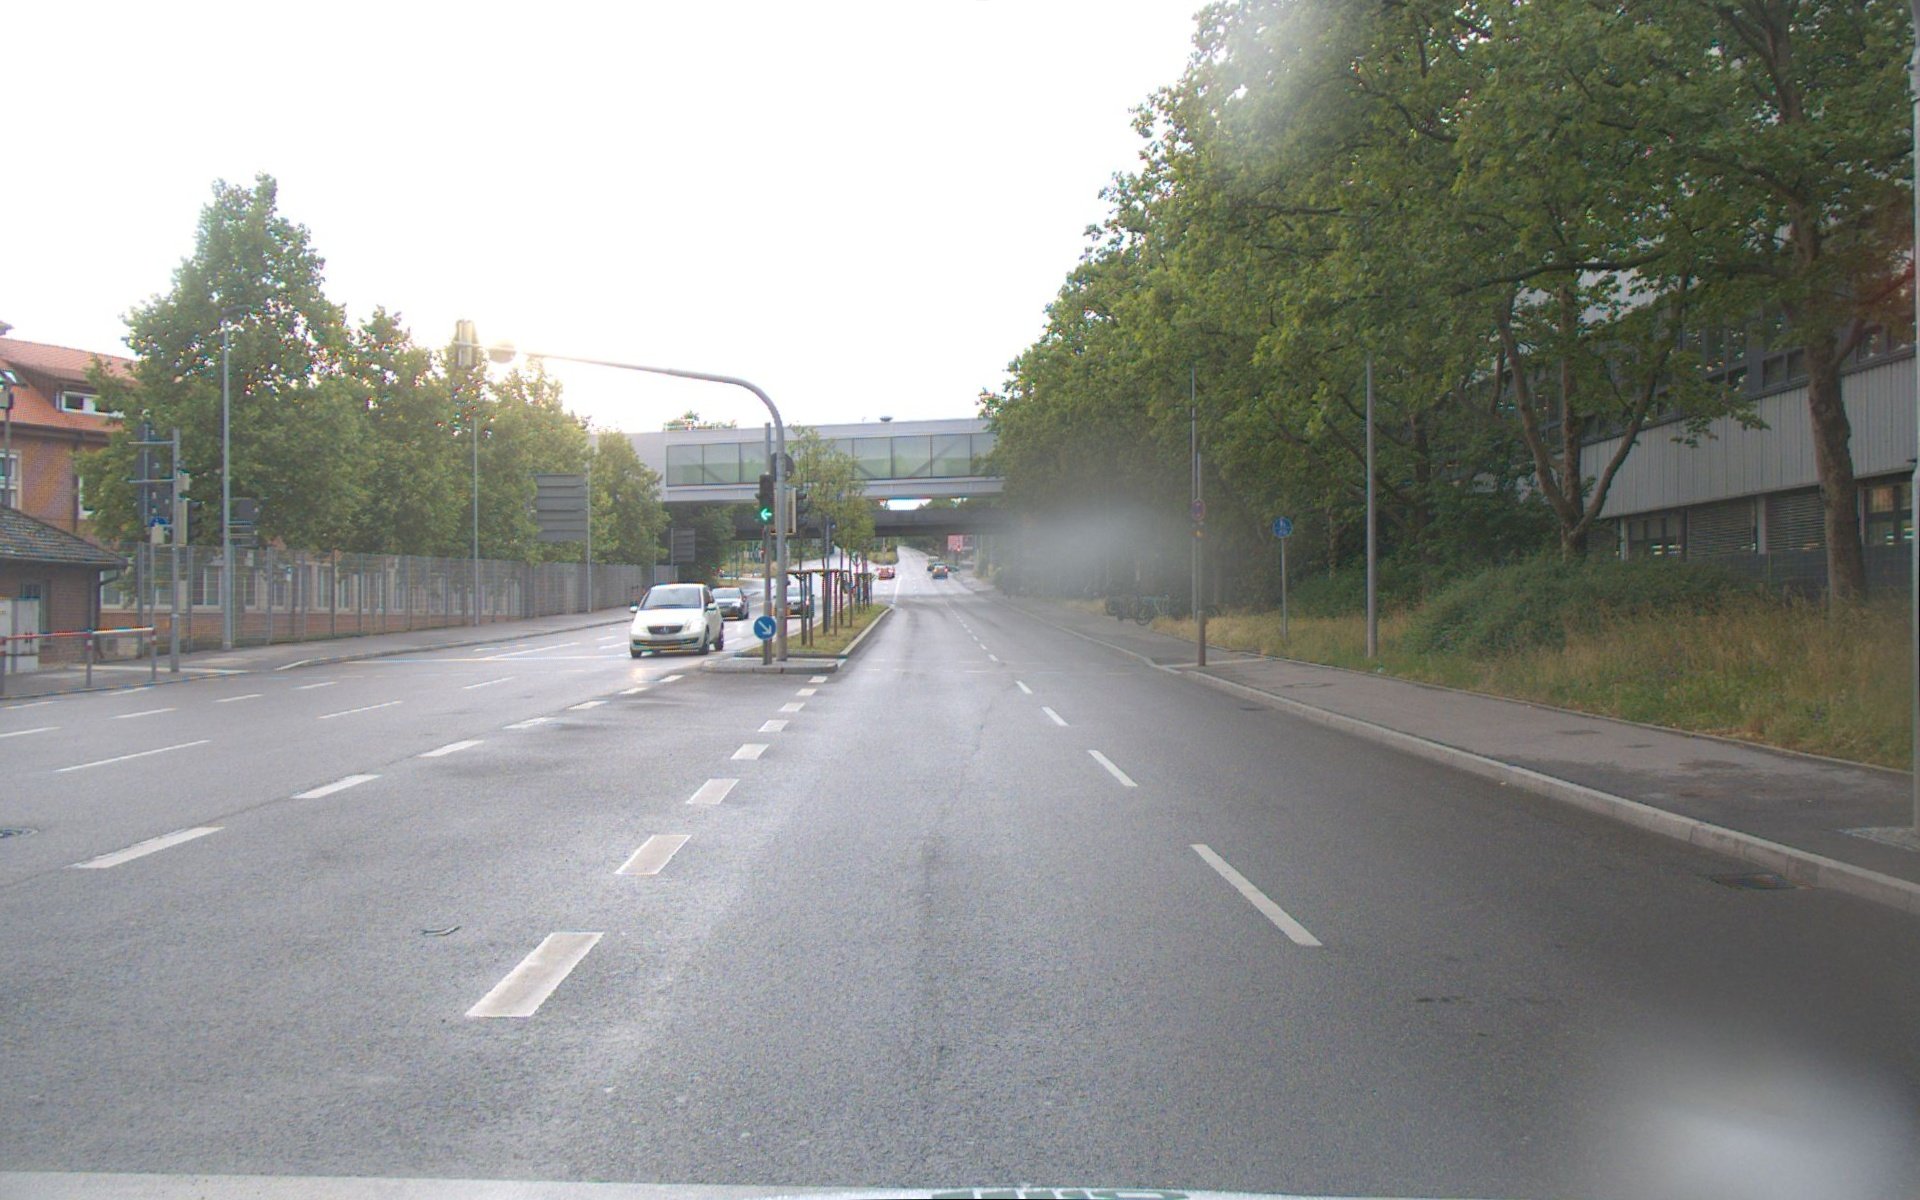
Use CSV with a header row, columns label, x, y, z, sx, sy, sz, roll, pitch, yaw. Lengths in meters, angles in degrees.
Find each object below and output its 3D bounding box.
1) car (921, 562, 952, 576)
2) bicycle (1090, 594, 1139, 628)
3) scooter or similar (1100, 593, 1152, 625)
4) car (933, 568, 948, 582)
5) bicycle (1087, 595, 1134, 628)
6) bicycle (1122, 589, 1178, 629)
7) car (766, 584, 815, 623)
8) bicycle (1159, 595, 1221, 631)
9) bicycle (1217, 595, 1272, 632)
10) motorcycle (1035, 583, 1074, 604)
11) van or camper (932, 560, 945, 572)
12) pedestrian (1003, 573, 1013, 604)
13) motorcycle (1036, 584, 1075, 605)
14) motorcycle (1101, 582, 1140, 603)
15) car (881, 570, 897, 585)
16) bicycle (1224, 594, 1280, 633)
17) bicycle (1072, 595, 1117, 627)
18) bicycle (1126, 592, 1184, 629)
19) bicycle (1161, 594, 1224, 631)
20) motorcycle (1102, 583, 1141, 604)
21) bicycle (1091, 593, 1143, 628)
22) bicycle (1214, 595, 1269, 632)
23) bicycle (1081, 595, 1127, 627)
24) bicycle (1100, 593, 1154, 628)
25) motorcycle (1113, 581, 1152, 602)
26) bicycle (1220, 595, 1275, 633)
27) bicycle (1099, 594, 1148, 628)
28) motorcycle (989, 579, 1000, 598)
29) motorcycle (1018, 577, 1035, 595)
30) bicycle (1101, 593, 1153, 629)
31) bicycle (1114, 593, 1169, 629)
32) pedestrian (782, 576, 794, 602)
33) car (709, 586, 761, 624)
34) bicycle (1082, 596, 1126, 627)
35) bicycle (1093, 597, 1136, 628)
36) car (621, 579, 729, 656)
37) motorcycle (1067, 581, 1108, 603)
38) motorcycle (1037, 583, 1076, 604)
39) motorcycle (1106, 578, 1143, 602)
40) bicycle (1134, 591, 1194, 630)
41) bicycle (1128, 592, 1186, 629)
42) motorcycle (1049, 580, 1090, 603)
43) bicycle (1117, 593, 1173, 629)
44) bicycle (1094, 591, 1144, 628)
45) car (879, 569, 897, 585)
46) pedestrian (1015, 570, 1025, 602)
label,x,y,z,sx,sy,sz,roll,pitch,yaw
car,-3.400,-4.365,236.307,4.419,1.792,1.904,2,-1,-2
bicycle,6.452,0.466,69.216,1.949,1.352,0.576,2,-1,0
scooter or similar,6.430,0.356,64.015,1.949,1.157,0.541,2,-1,0
car,-2.389,-3.026,202.947,1.837,1.523,4.067,2,-1,-1
bicycle,6.476,0.480,71.143,1.923,1.352,0.654,2,-1,0
bicycle,6.915,0.329,60.253,1.949,1.364,0.541,2,-1,0
car,-7.636,0.148,74.762,1.839,1.653,3.778,-1,0,-1
bicycle,7.588,0.418,54.536,1.949,1.114,0.541,2,-1,0
bicycle,10.788,0.522,62.765,1.949,1.352,0.576,2,-1,0
motorcycle,5.700,-0.385,99.856,2.318,1.223,0.723,-1,0,7
van or camper,-3.410,-5.403,262.923,1.762,1.845,3.763,1,1,-5
pedestrian,3.162,-0.772,108.816,0.609,2.049,0.605,-1,0,-1
motorcycle,5.800,-0.362,100.715,2.318,1.223,0.723,-1,0,7
motorcycle,9.763,-0.476,100.350,2.318,1.223,0.723,-1,0,7
car,-9.073,-2.833,211.724,1.846,1.792,3.968,2,-1,-1
bicycle,10.826,0.504,61.337,1.949,1.352,0.576,2,-1,0
bicycle,5.998,0.498,73.651,1.923,1.352,0.654,2,-1,0
bicycle,6.936,0.379,58.863,1.949,1.263,0.541,2,-1,0
bicycle,7.595,0.411,53.967,1.949,1.114,0.541,2,-1,0
motorcycle,9.913,-0.383,101.291,2.318,1.223,0.723,-1,0,7
bicycle,6.260,0.418,65.971,1.949,1.352,0.576,2,-1,0
bicycle,10.792,0.530,63.413,1.949,1.352,0.576,2,-1,0
bicycle,6.336,0.497,72.743,1.923,1.352,0.654,2,-1,0
bicycle,6.381,0.418,63.258,1.949,1.263,0.541,2,-1,0
motorcycle,10.327,-0.525,99.060,2.318,1.223,0.723,-1,0,7
bicycle,10.797,0.513,62.100,1.949,1.352,0.576,2,-1,0
bicycle,6.784,0.456,68.510,1.949,1.352,0.576,2,-1,0
motorcycle,3.002,-0.995,144.652,0.774,1.560,2.375,-1,0,-2
motorcycle,4.865,-1.039,121.810,0.775,1.334,2.371,-1,0,-9
bicycle,6.589,0.418,65.167,1.949,1.352,0.576,2,-1,0
bicycle,6.792,0.414,61.890,1.949,1.263,0.541,2,-1,0
pedestrian,-13.847,-0.902,133.068,0.854,2.039,0.855,-1,0,1
car,-10.054,0.202,74.110,1.839,1.653,3.778,-1,0,-1
bicycle,6.482,0.524,74.462,1.923,1.352,0.654,2,-1,0
bicycle,7.094,0.563,75.975,1.923,1.352,0.654,2,-1,0
car,-6.522,0.372,38.207,1.839,1.653,3.778,-1,0,-1
motorcycle,7.478,-0.479,96.917,2.318,1.223,0.723,-1,0,7
motorcycle,5.906,-0.388,101.631,2.318,1.223,0.723,-1,0,7
motorcycle,10.681,-0.647,107.207,2.318,1.502,0.723,-1,0,7
bicycle,6.899,0.353,55.985,1.949,1.237,0.541,2,-1,0
bicycle,6.931,0.374,58.175,1.949,1.255,0.541,2,-1,0
motorcycle,6.315,-0.497,95.424,2.318,1.223,0.723,-1,0,7
bicycle,6.810,0.402,60.942,1.949,1.263,0.541,2,-1,0
bicycle,6.502,0.384,67.652,1.949,1.455,0.723,2,-1,0
car,-8.976,-2.899,206.568,1.953,1.792,3.999,2,-1,-1
pedestrian,3.944,-0.919,108.705,0.609,2.049,0.605,-1,0,-1
